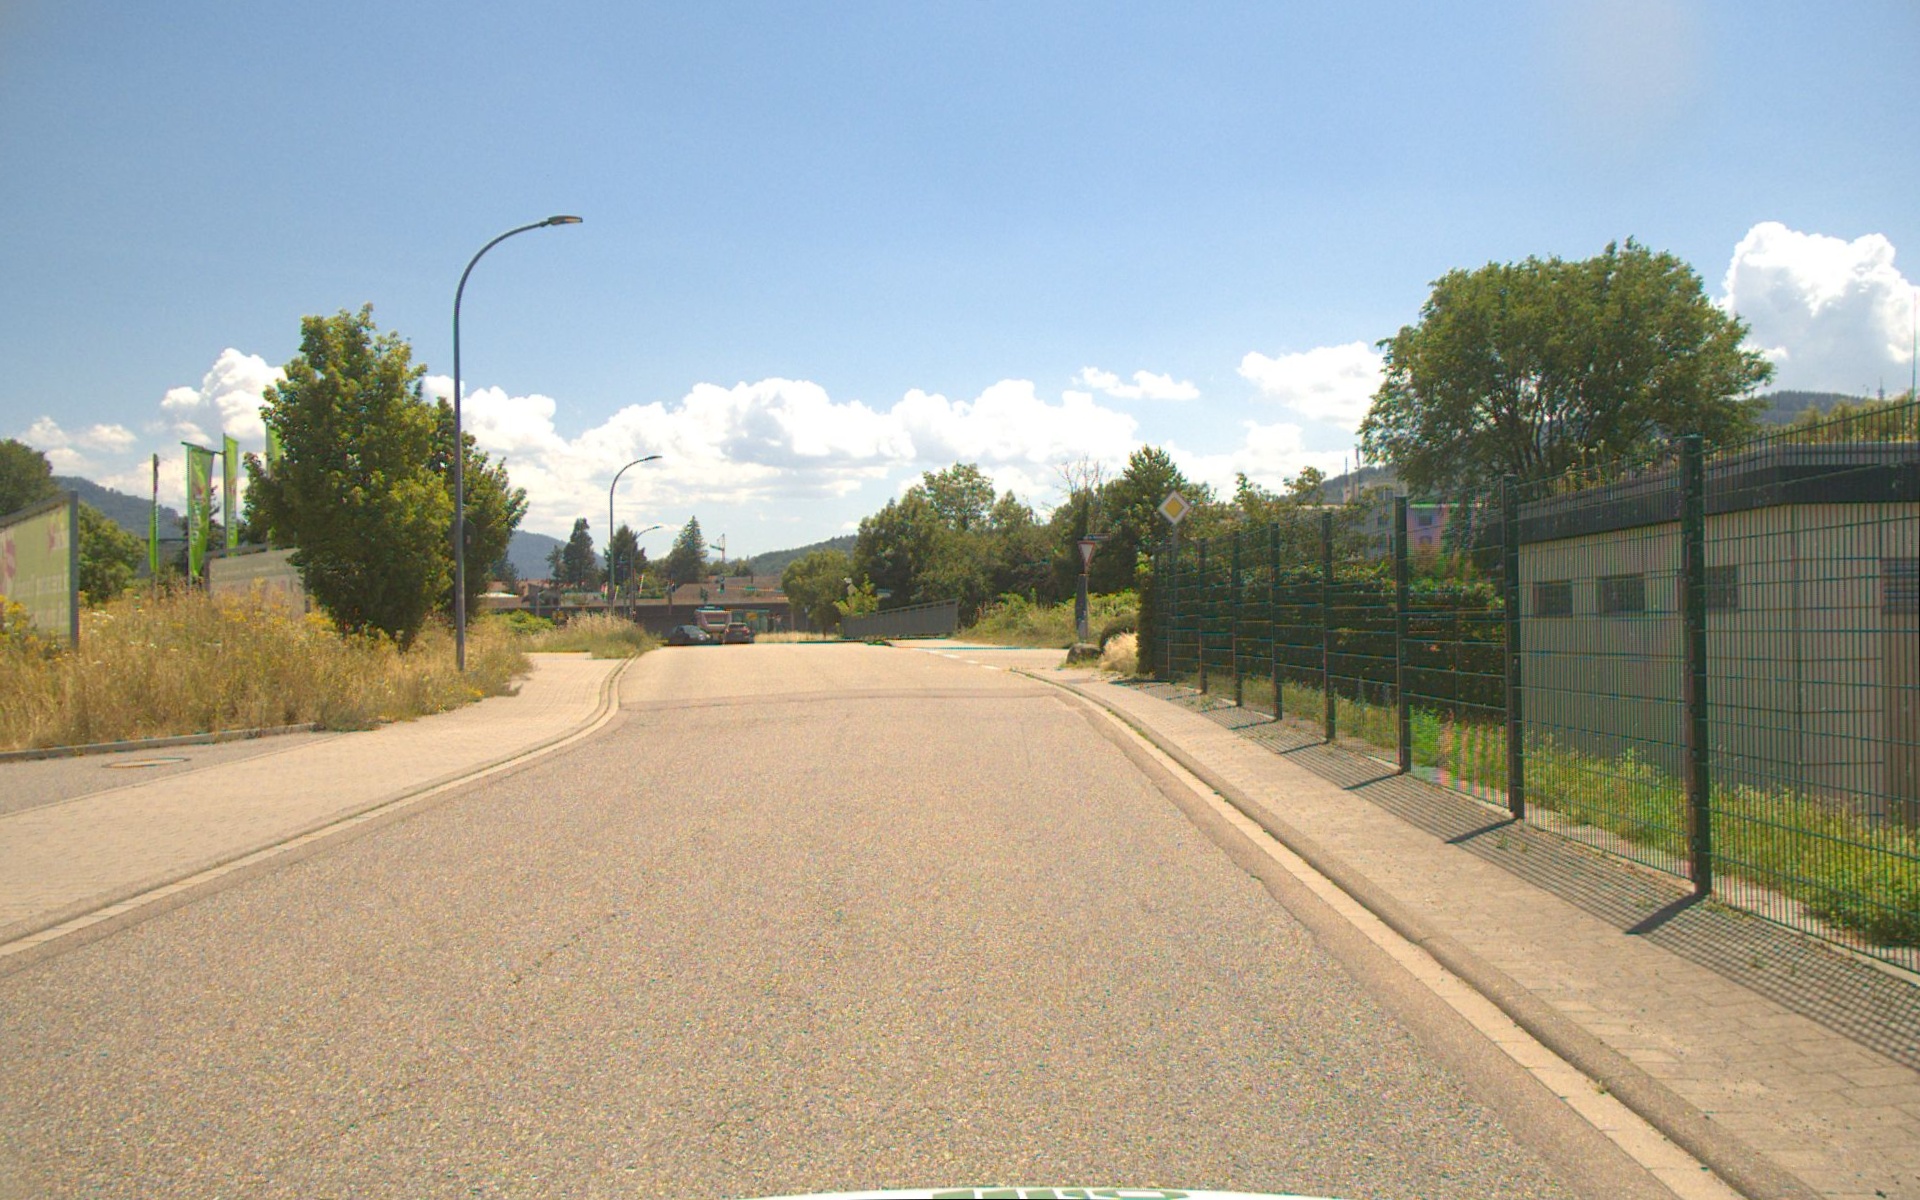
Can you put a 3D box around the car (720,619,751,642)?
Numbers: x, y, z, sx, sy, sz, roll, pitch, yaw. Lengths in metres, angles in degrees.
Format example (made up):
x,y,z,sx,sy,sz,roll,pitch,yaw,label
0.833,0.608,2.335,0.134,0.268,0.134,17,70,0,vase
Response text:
x,y,z,sx,sy,sz,roll,pitch,yaw,label
-15.395,2.066,113.428,1.746,1.473,3.439,0,0,-14,car

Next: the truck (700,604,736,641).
x,y,z,sx,sy,sz,roll,pitch,yaw,label
-19.667,1.815,134.168,2.634,2.821,6.074,0,0,-11,truck

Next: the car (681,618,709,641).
x,y,z,sx,sy,sz,roll,pitch,yaw,label
-17.871,1.988,111.306,1.651,1.473,3.441,0,0,-13,car
